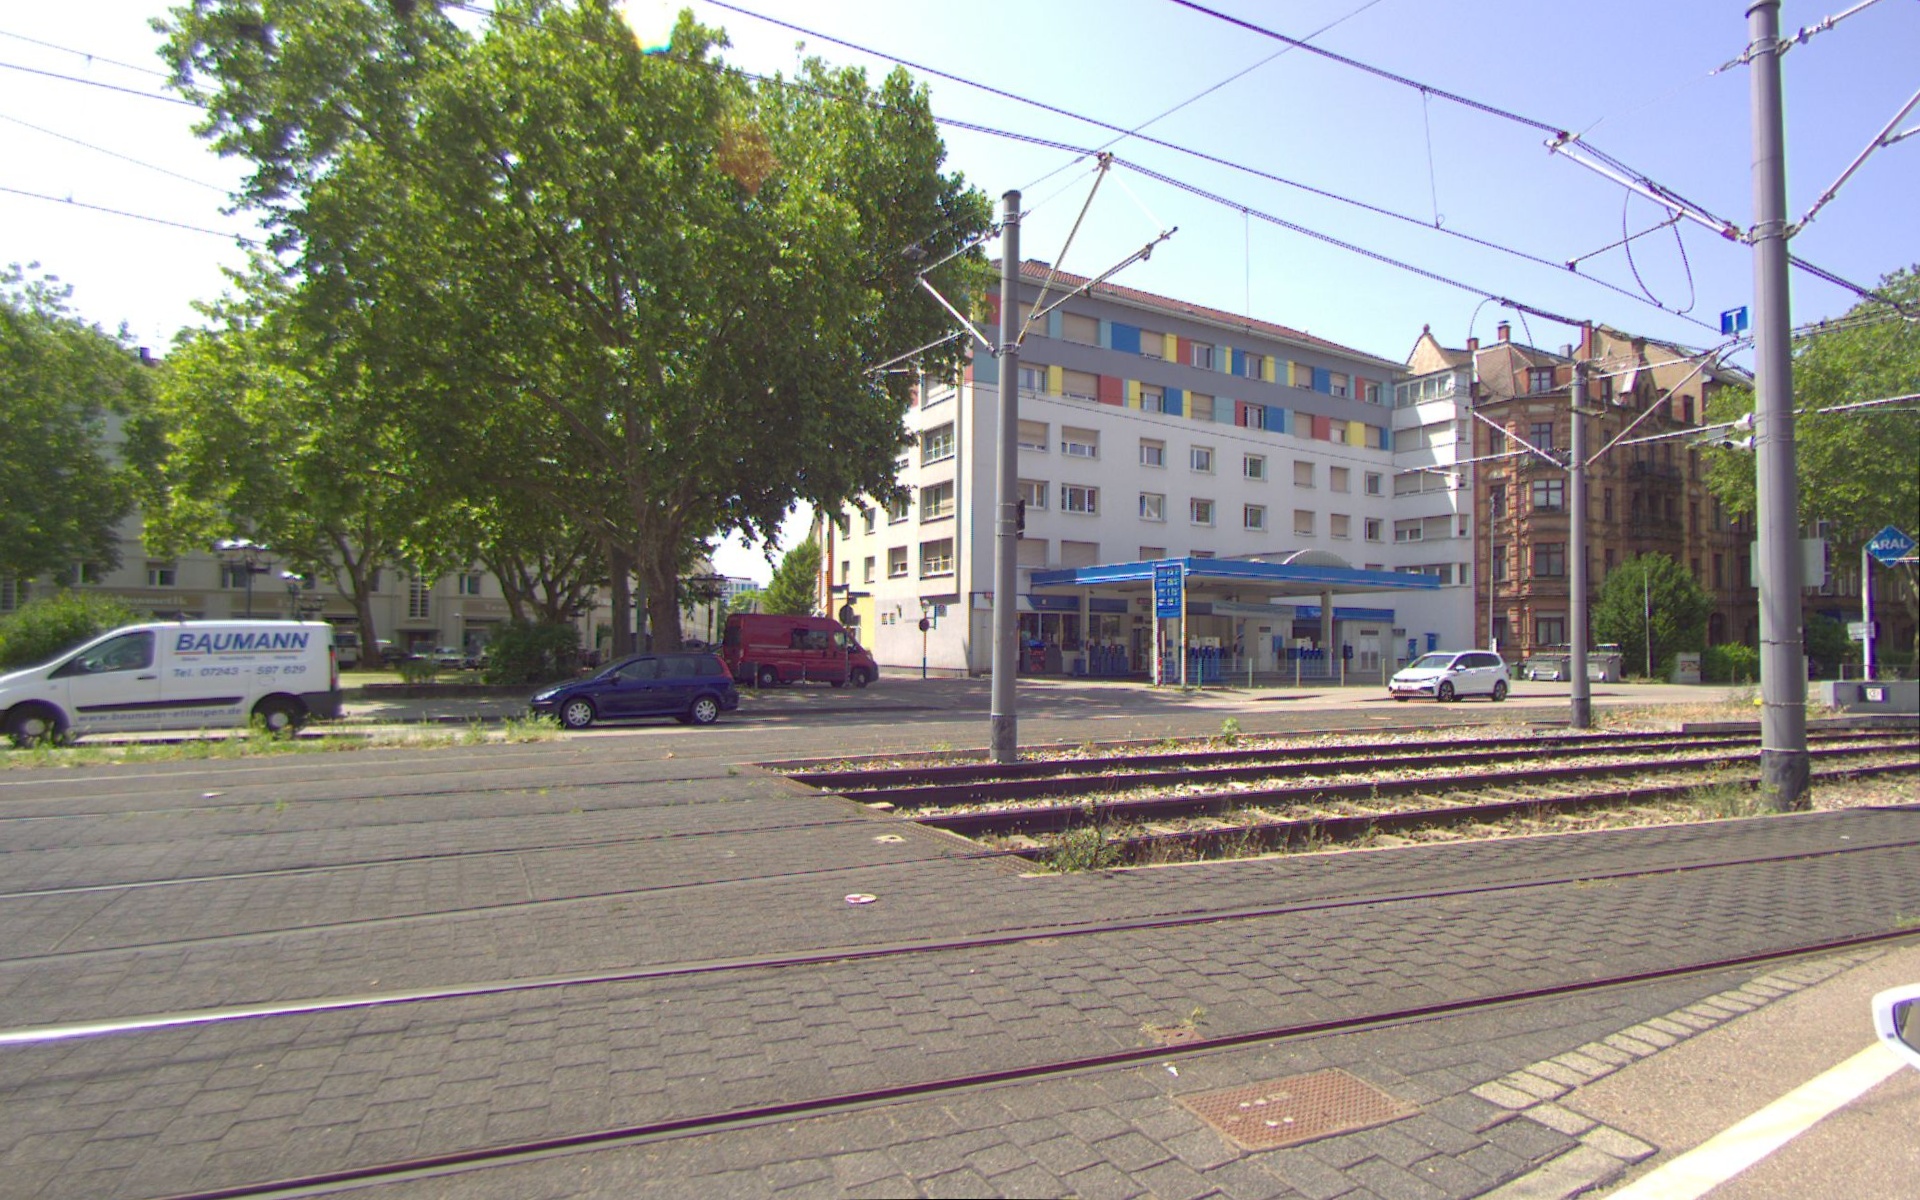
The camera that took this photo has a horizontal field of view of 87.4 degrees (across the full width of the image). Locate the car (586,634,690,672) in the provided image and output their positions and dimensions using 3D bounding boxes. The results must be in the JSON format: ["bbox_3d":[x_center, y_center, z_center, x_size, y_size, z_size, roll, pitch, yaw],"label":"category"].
[{"bbox_3d":[-17.593,2.897,55.008,5.058,2.016,1.904,2,-3,-36],"label":"car"}]

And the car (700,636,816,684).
[{"bbox_3d":[-7.783,2.302,38.694,3.954,1.743,1.984,2,-3,-31],"label":"car"}]

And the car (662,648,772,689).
[{"bbox_3d":[-9.830,2.743,40.709,3.954,1.546,1.854,1,-2,-31],"label":"car"}]

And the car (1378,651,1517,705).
[{"bbox_3d":[16.020,2.520,32.952,4.547,1.646,1.839,2,-4,-30],"label":"car"}]

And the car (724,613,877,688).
[{"bbox_3d":[-5.500,1.767,34.863,4.925,2.424,1.838,2,-3,-31],"label":"car"}]

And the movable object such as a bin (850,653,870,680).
[{"bbox_3d":[-5.794,3.838,58.140,1.007,1.580,0.558,2,-2,-30],"label":"movable object such as a bin"}]

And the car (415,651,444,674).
[{"bbox_3d":[-35.782,4.172,67.792,1.601,1.428,3.901,2,-2,-26],"label":"car"}]

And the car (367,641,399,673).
[{"bbox_3d":[-38.346,3.754,66.780,1.553,1.975,3.901,2,-2,-26],"label":"car"}]

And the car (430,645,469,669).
[{"bbox_3d":[-29.732,3.318,58.502,1.806,1.310,3.840,2,-3,-30],"label":"car"}]

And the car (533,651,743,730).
[{"bbox_3d":[-6.400,1.764,20.064,3.738,1.438,1.589,2,-5,-31],"label":"car"}]

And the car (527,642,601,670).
[{"bbox_3d":[-24.069,3.419,61.075,3.955,1.631,1.984,2,-3,-31],"label":"car"}]

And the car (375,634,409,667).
[{"bbox_3d":[-32.471,2.869,57.439,1.603,1.769,3.678,2,-2,-30],"label":"car"}]

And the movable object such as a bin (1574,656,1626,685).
[{"bbox_3d":[32.333,3.531,50.775,1.454,1.403,1.773,2,-3,-32],"label":"movable object such as a bin"}]

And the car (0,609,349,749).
[{"bbox_3d":[-12.688,1.225,16.246,4.751,2.017,1.768,2,-3,-32],"label":"car"}]

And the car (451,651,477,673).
[{"bbox_3d":[-34.125,4.238,69.172,1.514,1.428,3.639,2,-2,-26],"label":"car"}]

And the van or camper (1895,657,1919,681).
[{"bbox_3d":[73.901,5.241,75.750,1.905,1.861,4.532,1,-2,-24],"label":"van or camper"}]

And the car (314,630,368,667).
[{"bbox_3d":[-34.535,2.669,56.171,2.137,1.975,3.974,2,-2,-26],"label":"car"}]
